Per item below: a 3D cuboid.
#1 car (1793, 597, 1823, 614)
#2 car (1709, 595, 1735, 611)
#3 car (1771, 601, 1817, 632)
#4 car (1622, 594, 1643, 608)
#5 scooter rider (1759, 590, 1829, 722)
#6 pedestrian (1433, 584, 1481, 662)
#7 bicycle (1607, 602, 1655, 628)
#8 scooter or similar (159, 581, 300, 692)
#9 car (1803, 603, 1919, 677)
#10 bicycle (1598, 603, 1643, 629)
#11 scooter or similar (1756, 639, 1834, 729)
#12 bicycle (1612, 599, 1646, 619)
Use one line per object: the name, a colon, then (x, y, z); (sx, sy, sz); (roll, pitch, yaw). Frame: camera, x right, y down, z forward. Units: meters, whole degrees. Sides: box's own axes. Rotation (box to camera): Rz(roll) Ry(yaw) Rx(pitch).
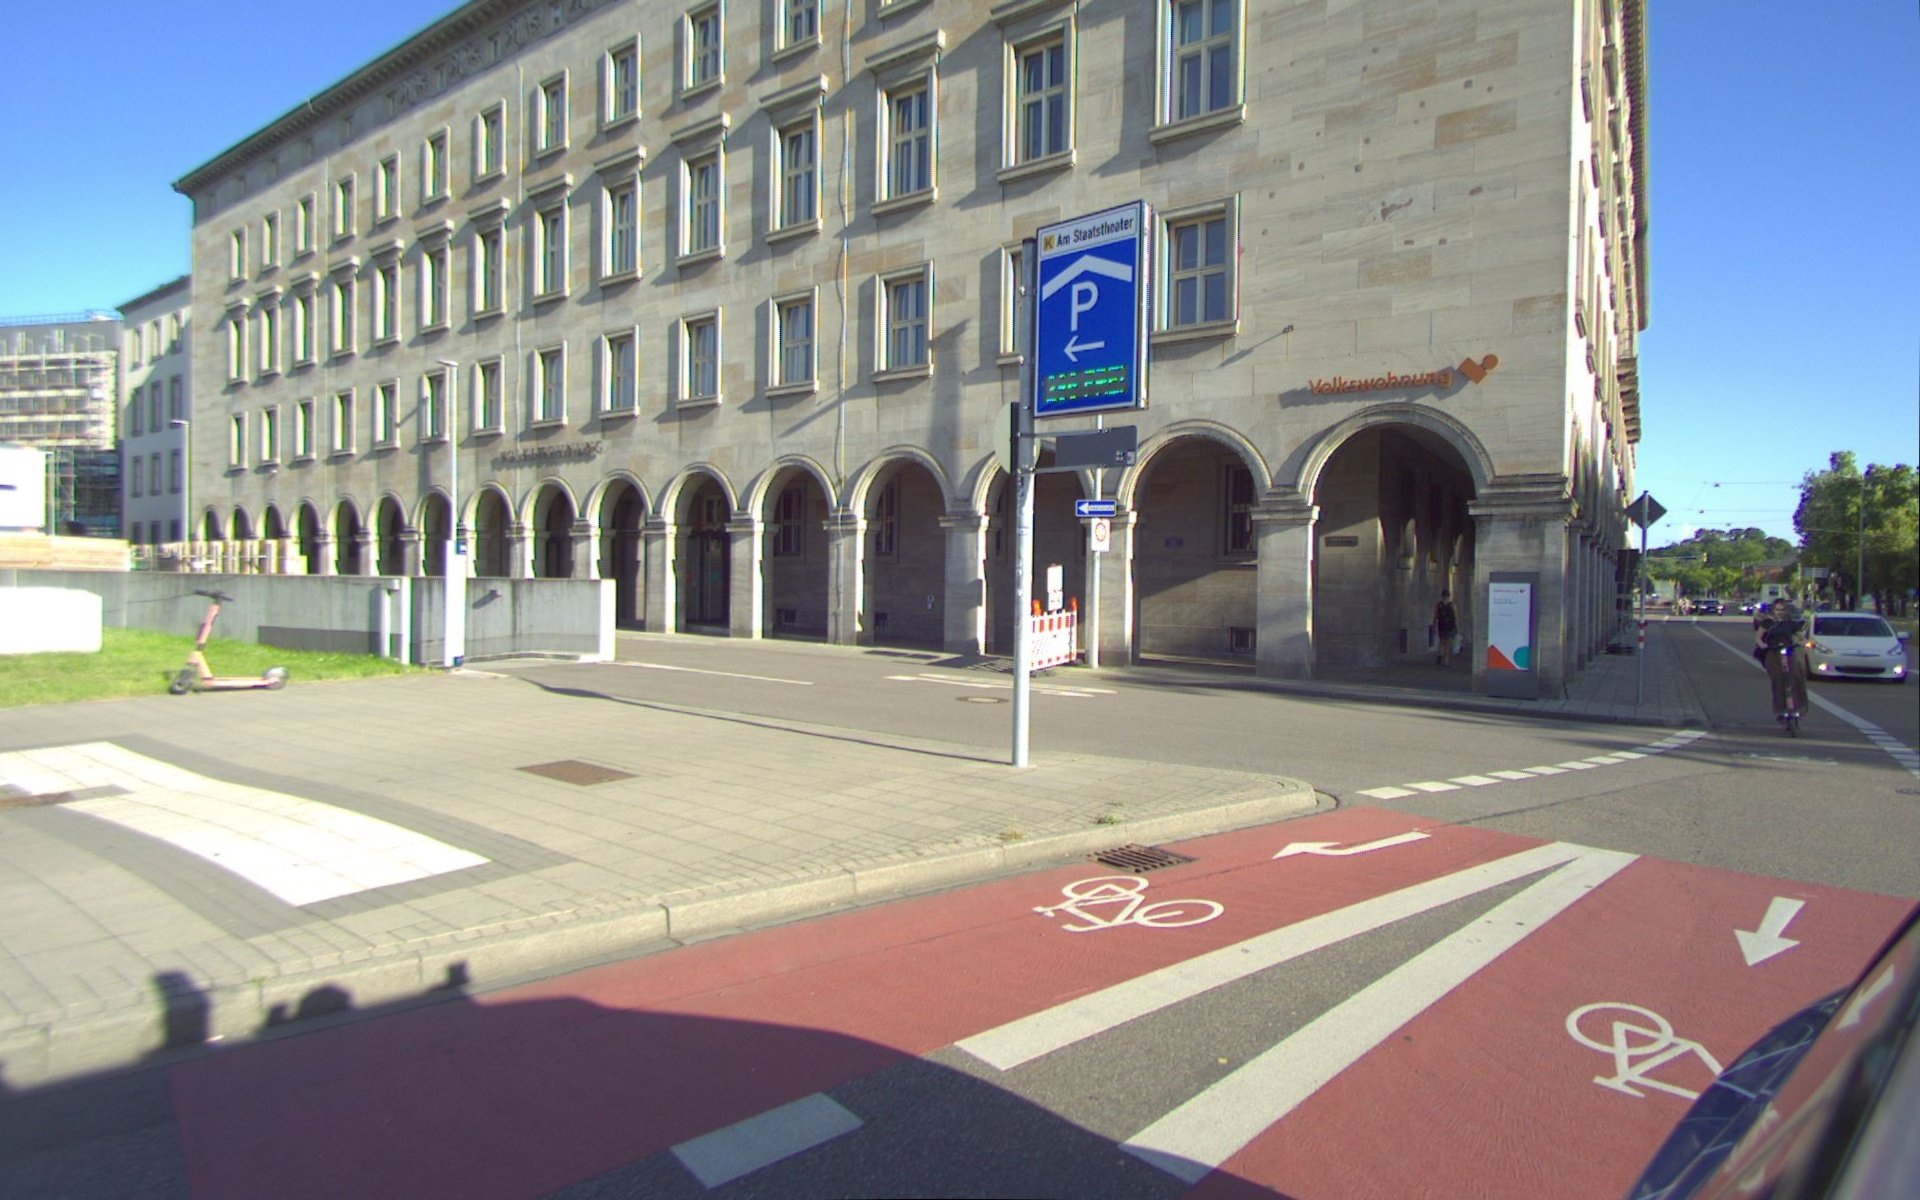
car: (87.229, 0.562, 104.159); (1.988, 1.593, 4.491); (1, 1, 35)
car: (78.511, 0.316, 104.285); (1.988, 1.593, 4.491); (1, 1, 35)
car: (46.590, 0.874, 56.567); (1.724, 1.659, 3.948); (-1, 0, 36)
car: (82.879, 0.096, 124.720); (1.988, 1.593, 4.491); (2, 1, 35)
scooter rider: (10.848, 0.707, 13.181); (0.558, 1.652, 0.644); (1, 1, 28)
pedestrian: (10.504, 0.469, 21.391); (0.773, 1.589, 0.941); (1, 0, 34)
bicycle: (30.707, 0.692, 46.329); (1.693, 1.063, 0.524); (3, 2, 22)
scooter or similar: (-8.766, 0.419, 12.170); (1.344, 1.261, 0.362); (1, 2, -39)
car: (20.126, 0.824, 22.687); (1.670, 1.482, 3.715); (0, 0, 37)
bicycle: (29.337, 0.702, 44.948); (1.678, 1.063, 0.613); (2, 1, -11)
scooter or similar: (10.836, 1.069, 13.167); (0.552, 1.044, 1.106); (1, 1, 28)
bicycle: (41.378, 0.549, 62.650); (0.650, 1.147, 1.717); (2, 2, -14)
